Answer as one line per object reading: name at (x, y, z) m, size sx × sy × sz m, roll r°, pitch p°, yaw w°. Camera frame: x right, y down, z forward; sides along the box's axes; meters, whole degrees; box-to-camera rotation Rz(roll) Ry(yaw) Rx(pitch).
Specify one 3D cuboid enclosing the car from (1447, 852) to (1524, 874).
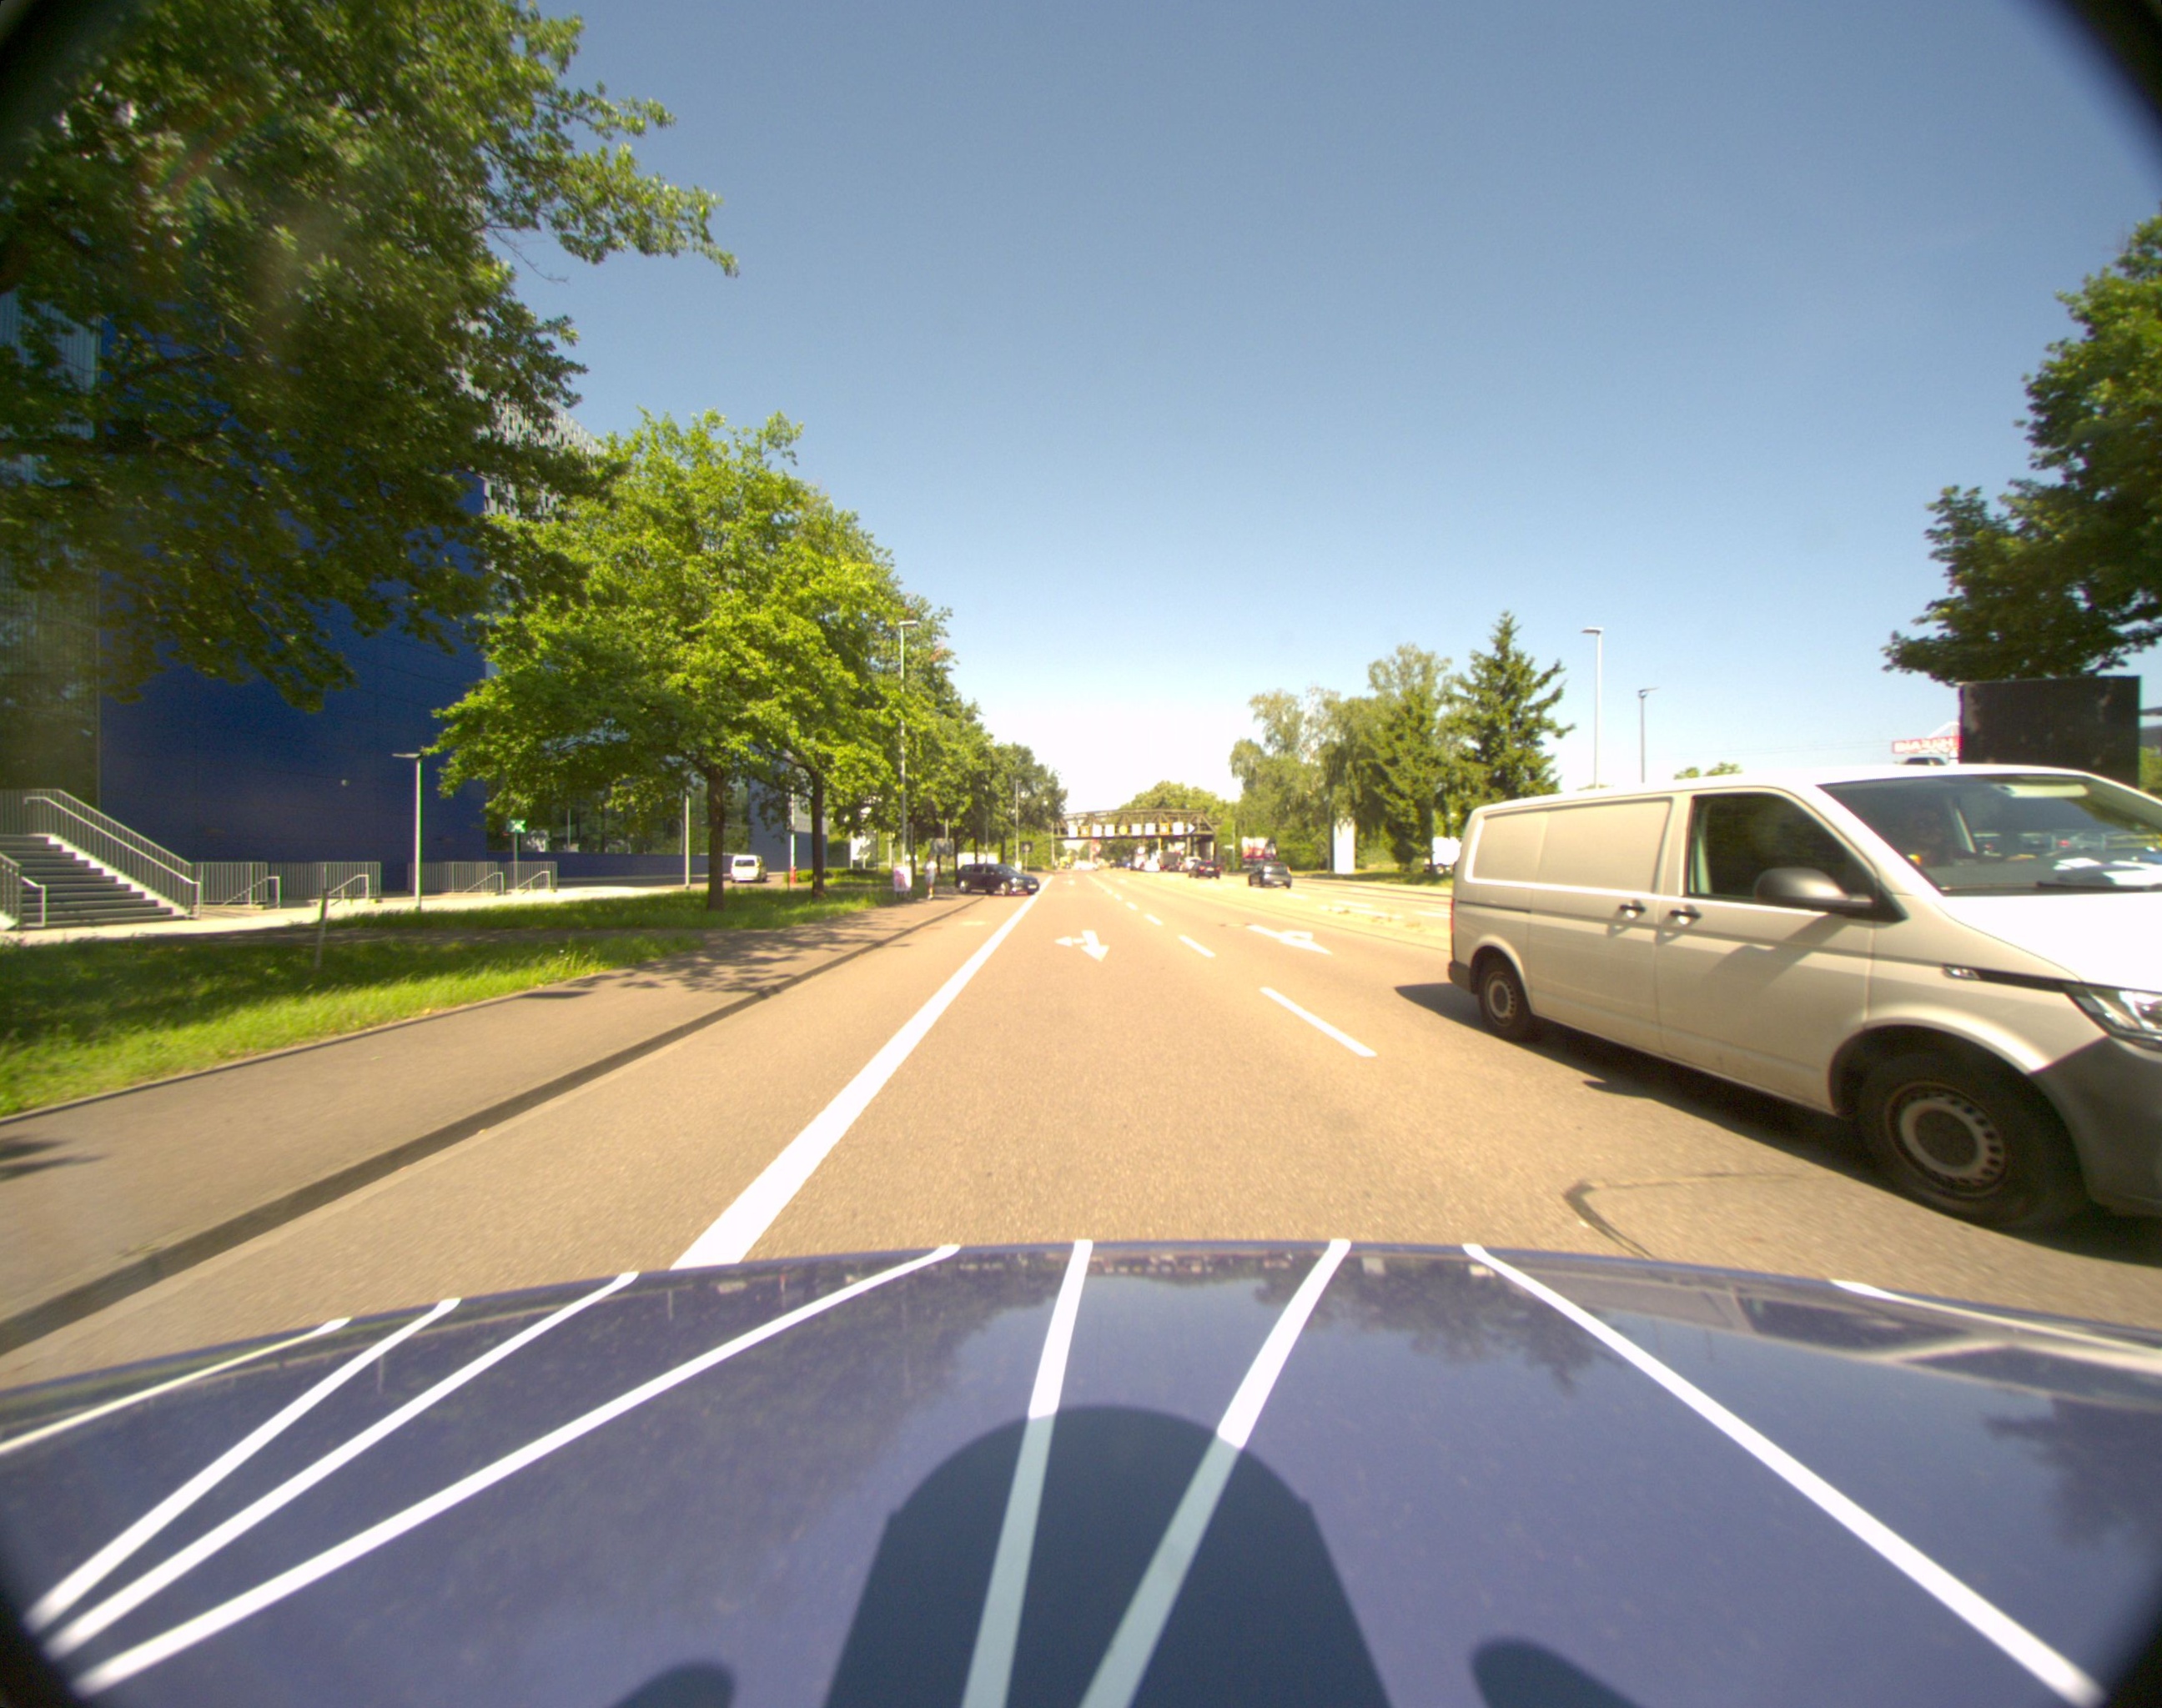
car at (26.282, 0.586, 49.458) m, size 4.096 × 1.430 × 1.744 m, roll 0°, pitch 0°, yaw 5°

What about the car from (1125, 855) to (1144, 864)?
car at (12.247, 1.280, 173.966) m, size 3.997 × 2.001 × 2.212 m, roll -3°, pitch -1°, yaw 1°

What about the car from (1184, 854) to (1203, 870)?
car at (14.506, 1.079, 98.131) m, size 1.998 × 2.002 × 5.348 m, roll 0°, pitch 0°, yaw 4°

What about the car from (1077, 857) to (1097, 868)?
car at (1.186, 1.823, 159.800) m, size 3.996 × 2.001 × 2.001 m, roll -3°, pitch -1°, yaw 3°

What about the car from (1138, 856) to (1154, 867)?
car at (9.089, 1.107, 106.477) m, size 1.773 × 1.485 × 4.178 m, roll 1°, pitch -1°, yaw 0°

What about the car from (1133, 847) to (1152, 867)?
car at (9.166, 0.499, 114.099) m, size 1.999 × 2.788 × 6.936 m, roll 2°, pitch 0°, yaw -2°

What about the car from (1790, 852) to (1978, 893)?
car at (27.240, 0.608, 25.892) m, size 4.276 × 1.342 × 1.954 m, roll 0°, pitch 0°, yaw 2°

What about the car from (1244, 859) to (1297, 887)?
car at (10.244, 0.991, 41.415) m, size 1.787 × 1.406 × 4.000 m, roll 2°, pitch 0°, yaw -1°

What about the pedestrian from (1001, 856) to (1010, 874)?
pedestrian at (-6.541, 0.942, 65.730) m, size 0.648 × 1.594 × 0.846 m, roll 0°, pitch 0°, yaw 0°

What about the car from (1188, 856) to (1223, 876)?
car at (9.658, 0.916, 59.221) m, size 1.846 × 1.455 × 4.999 m, roll 2°, pitch 0°, yaw 0°

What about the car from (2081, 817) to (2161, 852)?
car at (43.229, -0.763, 30.232) m, size 4.277 × 1.342 × 1.954 m, roll 0°, pitch 0°, yaw 0°

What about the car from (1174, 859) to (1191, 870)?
car at (14.028, 1.446, 105.557) m, size 1.773 × 1.485 × 4.178 m, roll 1°, pitch -1°, yaw 0°

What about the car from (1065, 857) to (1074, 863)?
car at (-2.818, 1.493, 187.994) m, size 1.823 × 1.346 × 3.998 m, roll 0°, pitch 0°, yaw -5°

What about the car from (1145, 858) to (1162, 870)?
car at (9.399, 1.279, 98.472) m, size 1.647 × 1.485 × 3.829 m, roll 1°, pitch -1°, yaw -1°

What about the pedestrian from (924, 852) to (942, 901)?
pedestrian at (-5.676, 0.849, 29.162) m, size 0.536 × 1.831 × 0.727 m, roll 0°, pitch 0°, yaw 0°

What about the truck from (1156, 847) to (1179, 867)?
truck at (13.615, 0.452, 119.518) m, size 2.348 × 3.070 × 7.067 m, roll 0°, pitch 0°, yaw -4°

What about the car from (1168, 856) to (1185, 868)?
car at (14.157, 1.234, 112.853) m, size 1.989 × 1.679 × 4.288 m, roll 1°, pitch -1°, yaw 0°

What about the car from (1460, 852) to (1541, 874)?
car at (26.114, 0.567, 47.393) m, size 4.096 × 1.346 × 1.744 m, roll 0°, pitch 1°, yaw 5°

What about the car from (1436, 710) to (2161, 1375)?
car at (4.155, 0.573, 4.381) m, size 1.886 × 1.982 × 4.974 m, roll 0°, pitch 0°, yaw 0°

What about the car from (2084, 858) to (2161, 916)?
car at (27.269, 0.763, 18.025) m, size 4.276 × 1.342 × 1.954 m, roll 0°, pitch 0°, yaw 2°

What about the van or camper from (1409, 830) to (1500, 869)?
van or camper at (26.403, -0.304, 53.777) m, size 5.393 × 2.455 × 2.000 m, roll -2°, pitch -1°, yaw -3°

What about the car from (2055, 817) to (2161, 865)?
car at (37.445, -0.442, 26.543) m, size 4.276 × 1.633 × 1.954 m, roll 0°, pitch 0°, yaw 2°

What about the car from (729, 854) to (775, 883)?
car at (-21.377, 0.913, 49.534) m, size 1.912 × 1.818 × 4.175 m, roll 0°, pitch 0°, yaw -12°

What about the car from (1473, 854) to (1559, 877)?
car at (25.537, 0.675, 44.690) m, size 4.097 × 1.285 × 1.744 m, roll 0°, pitch 0°, yaw 2°

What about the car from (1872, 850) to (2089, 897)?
car at (27.402, 0.583, 23.278) m, size 4.276 × 1.342 × 1.954 m, roll 0°, pitch 0°, yaw 2°

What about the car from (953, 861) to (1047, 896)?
car at (-3.852, 1.112, 35.570) m, size 4.361 × 1.511 × 1.916 m, roll 0°, pitch 0°, yaw 41°

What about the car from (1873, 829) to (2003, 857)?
car at (42.680, -0.536, 37.914) m, size 4.277 × 1.342 × 1.954 m, roll 0°, pitch 0°, yaw 0°

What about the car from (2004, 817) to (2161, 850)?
car at (42.928, -0.843, 32.613) m, size 4.277 × 1.342 × 1.954 m, roll 0°, pitch 0°, yaw 0°

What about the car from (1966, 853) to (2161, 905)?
car at (27.453, 0.655, 20.732) m, size 4.276 × 1.342 × 1.954 m, roll 0°, pitch 0°, yaw 2°

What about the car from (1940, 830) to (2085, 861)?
car at (42.999, -0.378, 35.150) m, size 4.277 × 1.342 × 1.954 m, roll 0°, pitch 0°, yaw 0°
